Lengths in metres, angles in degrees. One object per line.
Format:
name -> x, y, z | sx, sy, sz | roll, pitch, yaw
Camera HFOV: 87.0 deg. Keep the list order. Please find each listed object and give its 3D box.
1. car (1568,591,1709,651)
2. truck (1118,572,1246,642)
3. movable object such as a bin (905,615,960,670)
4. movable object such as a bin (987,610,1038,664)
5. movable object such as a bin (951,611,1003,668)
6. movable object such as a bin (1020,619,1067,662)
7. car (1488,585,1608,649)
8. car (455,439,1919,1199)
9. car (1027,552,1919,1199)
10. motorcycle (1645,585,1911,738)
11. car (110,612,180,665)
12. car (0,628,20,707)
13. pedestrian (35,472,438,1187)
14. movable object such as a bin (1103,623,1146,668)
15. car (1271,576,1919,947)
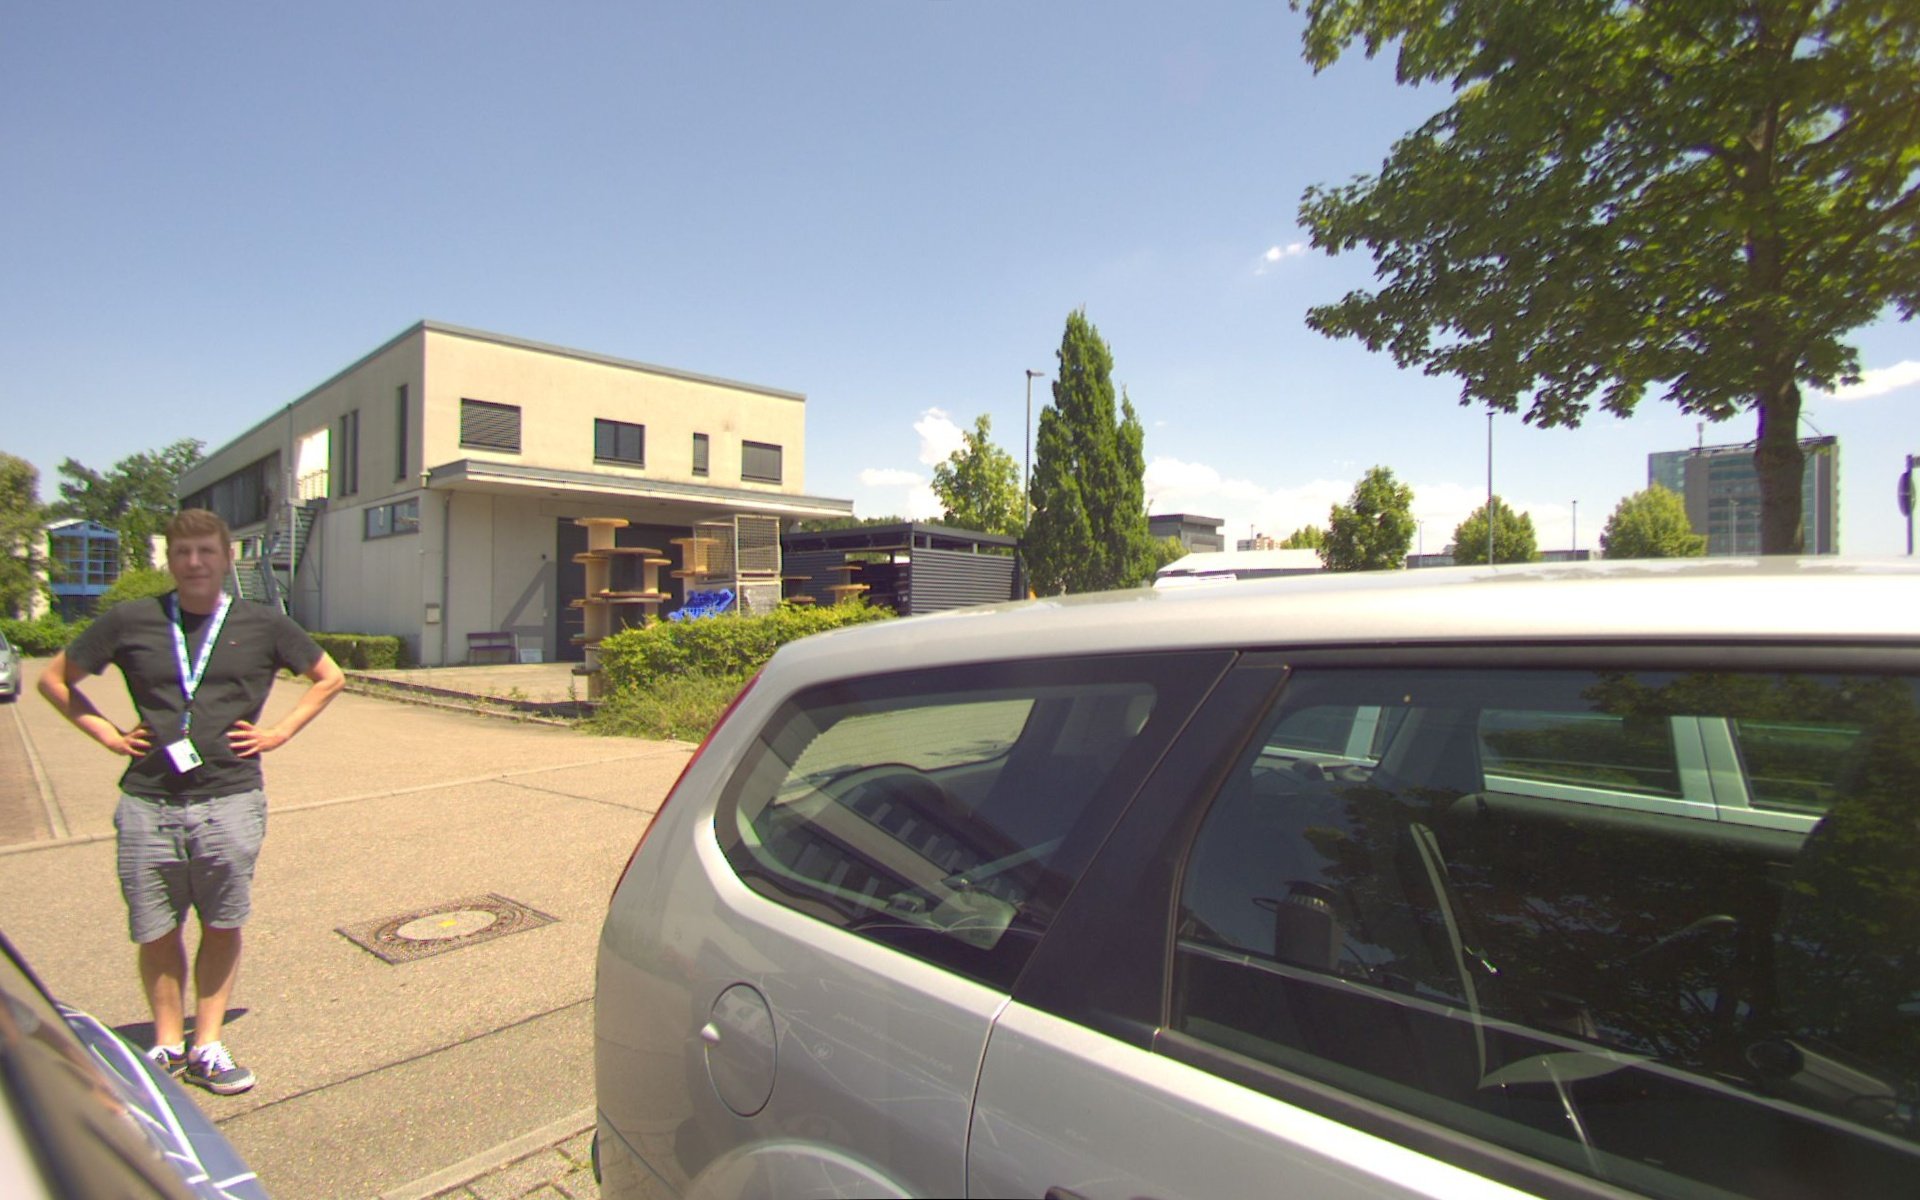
car -> 18.607, 0.539, 27.707 | 3.932, 1.533, 1.658 | -1, 0, -31
truck -> 9.200, 0.258, 41.614 | 5.614, 2.692, 2.420 | -1, -1, -45
movable object such as a bin -> -0.656, 1.008, 24.331 | 1.056, 1.280, 0.761 | -1, -1, -40
movable object such as a bin -> 1.362, 0.930, 26.054 | 1.056, 1.346, 0.761 | -1, -1, -40
movable object such as a bin -> 0.422, 0.965, 25.108 | 1.056, 1.346, 0.761 | -1, -1, -40
movable object such as a bin -> 2.215, 1.047, 26.734 | 0.972, 1.092, 0.761 | -1, -1, -40
car -> 17.412, 0.460, 29.919 | 3.936, 1.751, 1.776 | -1, 0, -39
car -> 1.327, 0.647, 0.983 | 4.346, 1.490, 1.702 | -1, -1, 41
car -> 2.277, 0.642, 3.104 | 3.886, 1.490, 1.632 | -1, -1, 38
motorcycle -> 8.043, 0.590, 10.069 | 1.986, 1.400, 0.478 | -2, -1, 38
car -> -30.049, 1.362, 37.268 | 1.761, 1.817, 4.004 | -1, 0, -43
car -> -19.065, 1.243, 19.187 | 1.686, 1.402, 3.816 | 1, -1, -41
pedestrian -> -2.301, 0.592, 3.221 | 0.904, 1.834, 0.849 | -2, -1, 41
movable object such as a bin -> 3.753, 1.023, 23.092 | 0.581, 0.977, 0.761 | -1, -1, -40
car -> 3.750, 0.642, 5.034 | 3.886, 1.459, 1.632 | -1, -1, 38
